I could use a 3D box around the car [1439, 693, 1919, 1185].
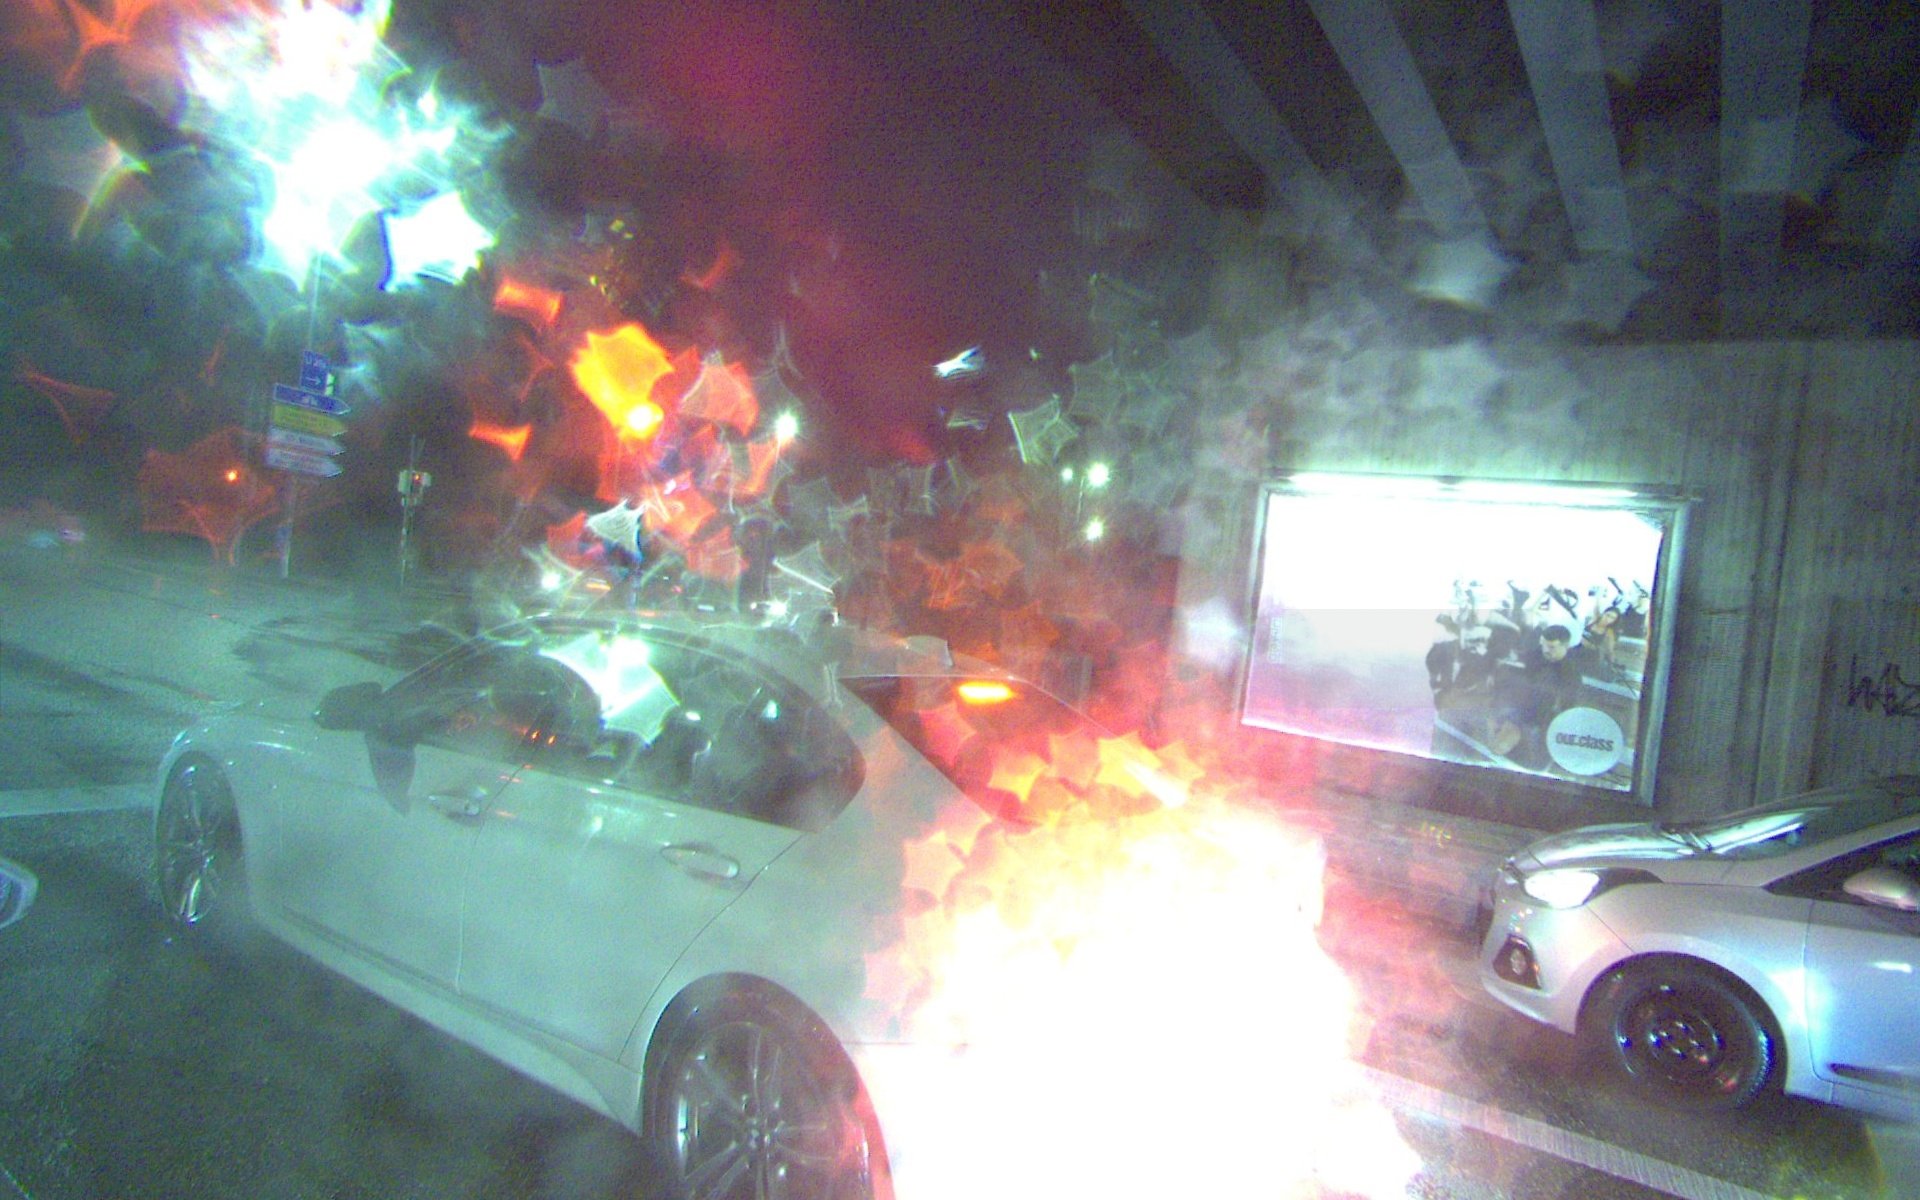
[{"bbox_3d":[4.283,1.402,3.959,4.092,1.465,1.722,6,0,31],"label":"car"}]

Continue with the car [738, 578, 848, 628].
[{"bbox_3d":[-7.080,0.149,43.005,1.827,1.609,4.335,6,-2,40],"label":"car"}]

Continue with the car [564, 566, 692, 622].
[{"bbox_3d":[-12.886,-0.206,39.226,1.827,1.609,4.335,6,-2,40],"label":"car"}]

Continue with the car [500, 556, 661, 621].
[{"bbox_3d":[-12.981,-0.355,34.723,1.826,1.609,4.850,6,-2,38],"label":"car"}]

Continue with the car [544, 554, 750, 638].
[{"bbox_3d":[-8.404,-0.065,27.414,1.973,1.628,4.948,6,-2,42],"label":"car"}]

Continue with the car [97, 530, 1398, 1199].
[{"bbox_3d":[-0.979,0.710,3.503,4.309,1.465,1.722,6,0,31],"label":"car"}]

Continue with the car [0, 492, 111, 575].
[{"bbox_3d":[-24.216,-1.826,25.211,4.322,1.775,1.962,8,-2,-41],"label":"car"}]
